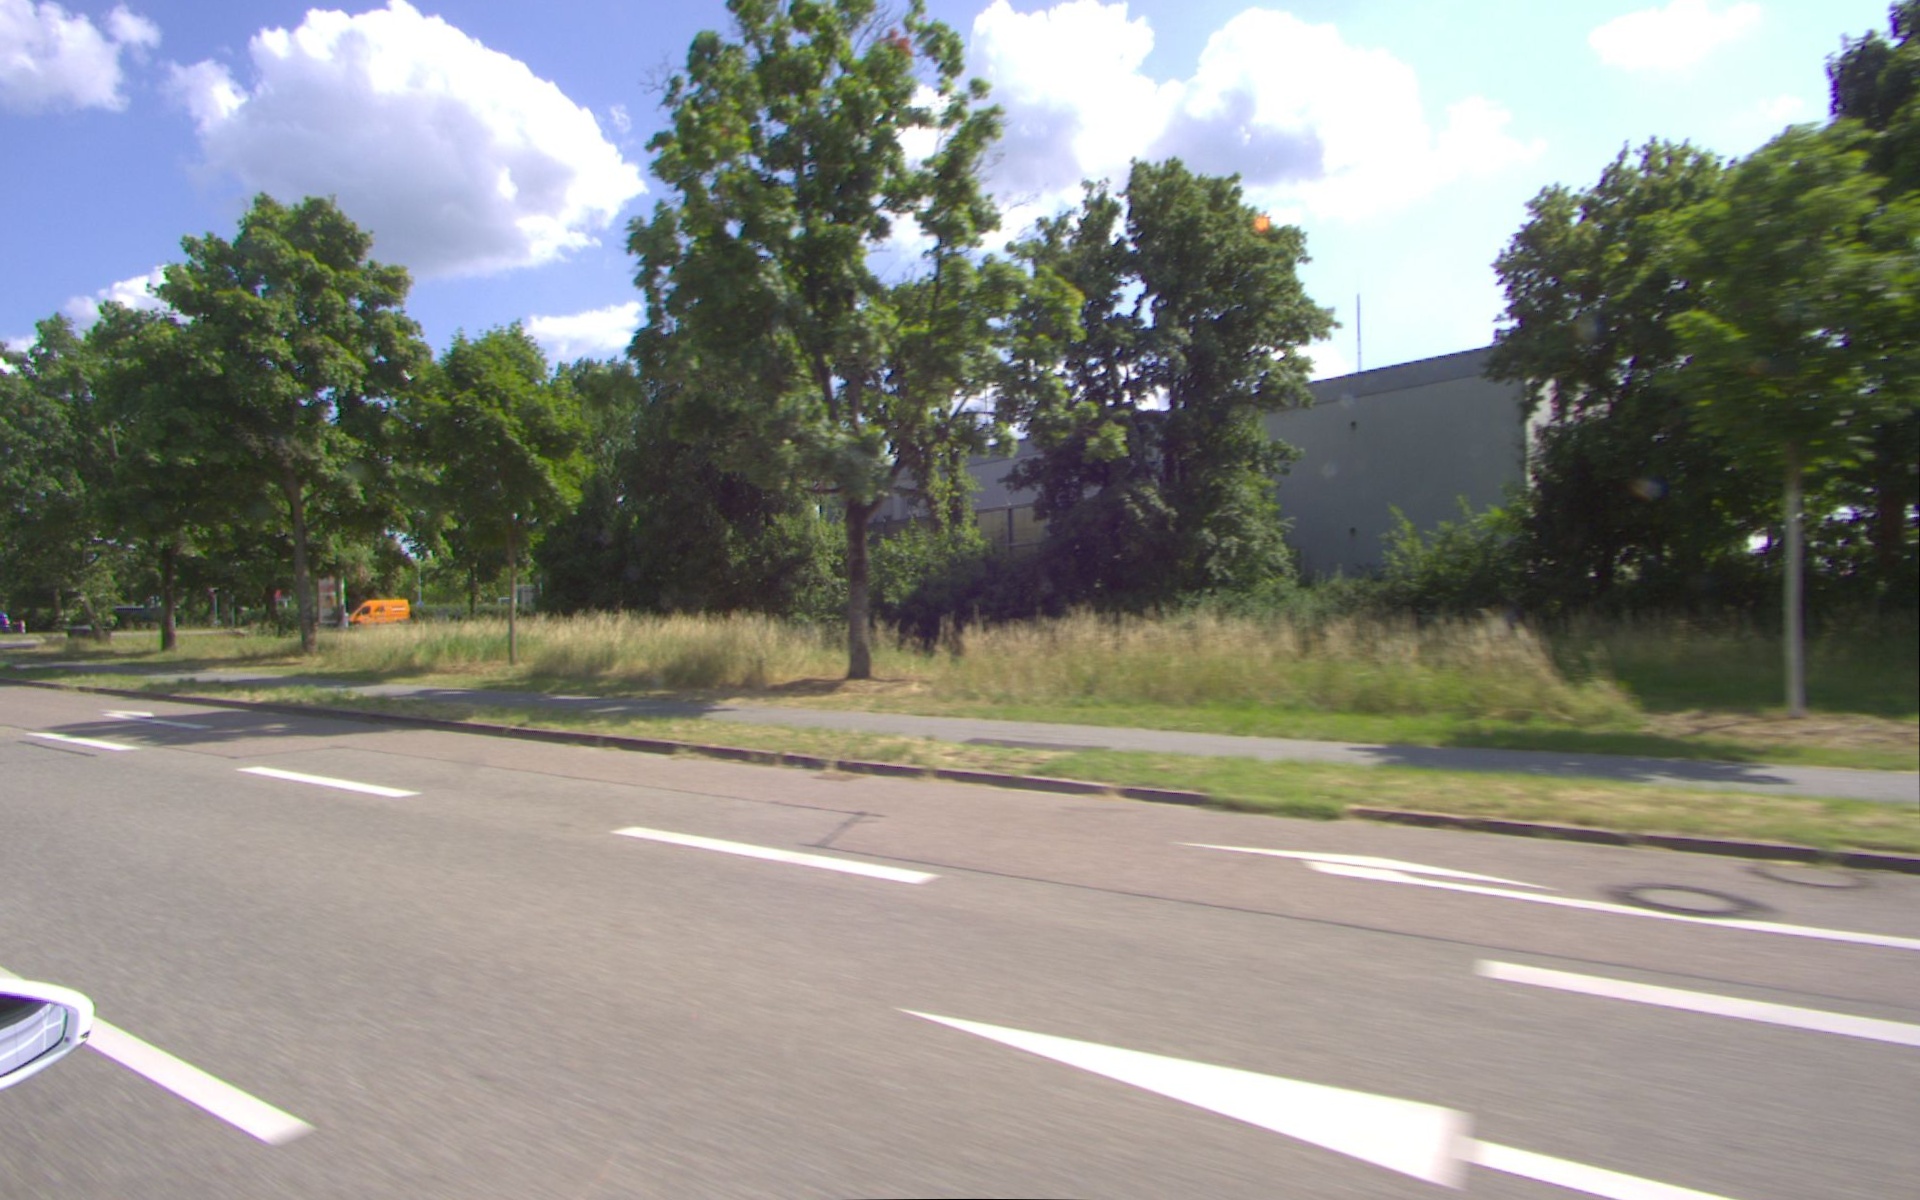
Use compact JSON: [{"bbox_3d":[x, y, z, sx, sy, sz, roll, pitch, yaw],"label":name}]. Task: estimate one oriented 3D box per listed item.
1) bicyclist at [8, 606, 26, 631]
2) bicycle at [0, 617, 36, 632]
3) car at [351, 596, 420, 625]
[{"bbox_3d":[-70.974,1.375,75.353,0.776,1.828,0.684,0,0,-22],"label":"bicyclist"},{"bbox_3d":[-70.970,1.823,75.354,1.970,1.108,0.684,0,-1,-22],"label":"bicycle"},{"bbox_3d":[-48.747,0.950,85.017,4.804,2.253,2.195,2,-3,-38],"label":"car"}]
